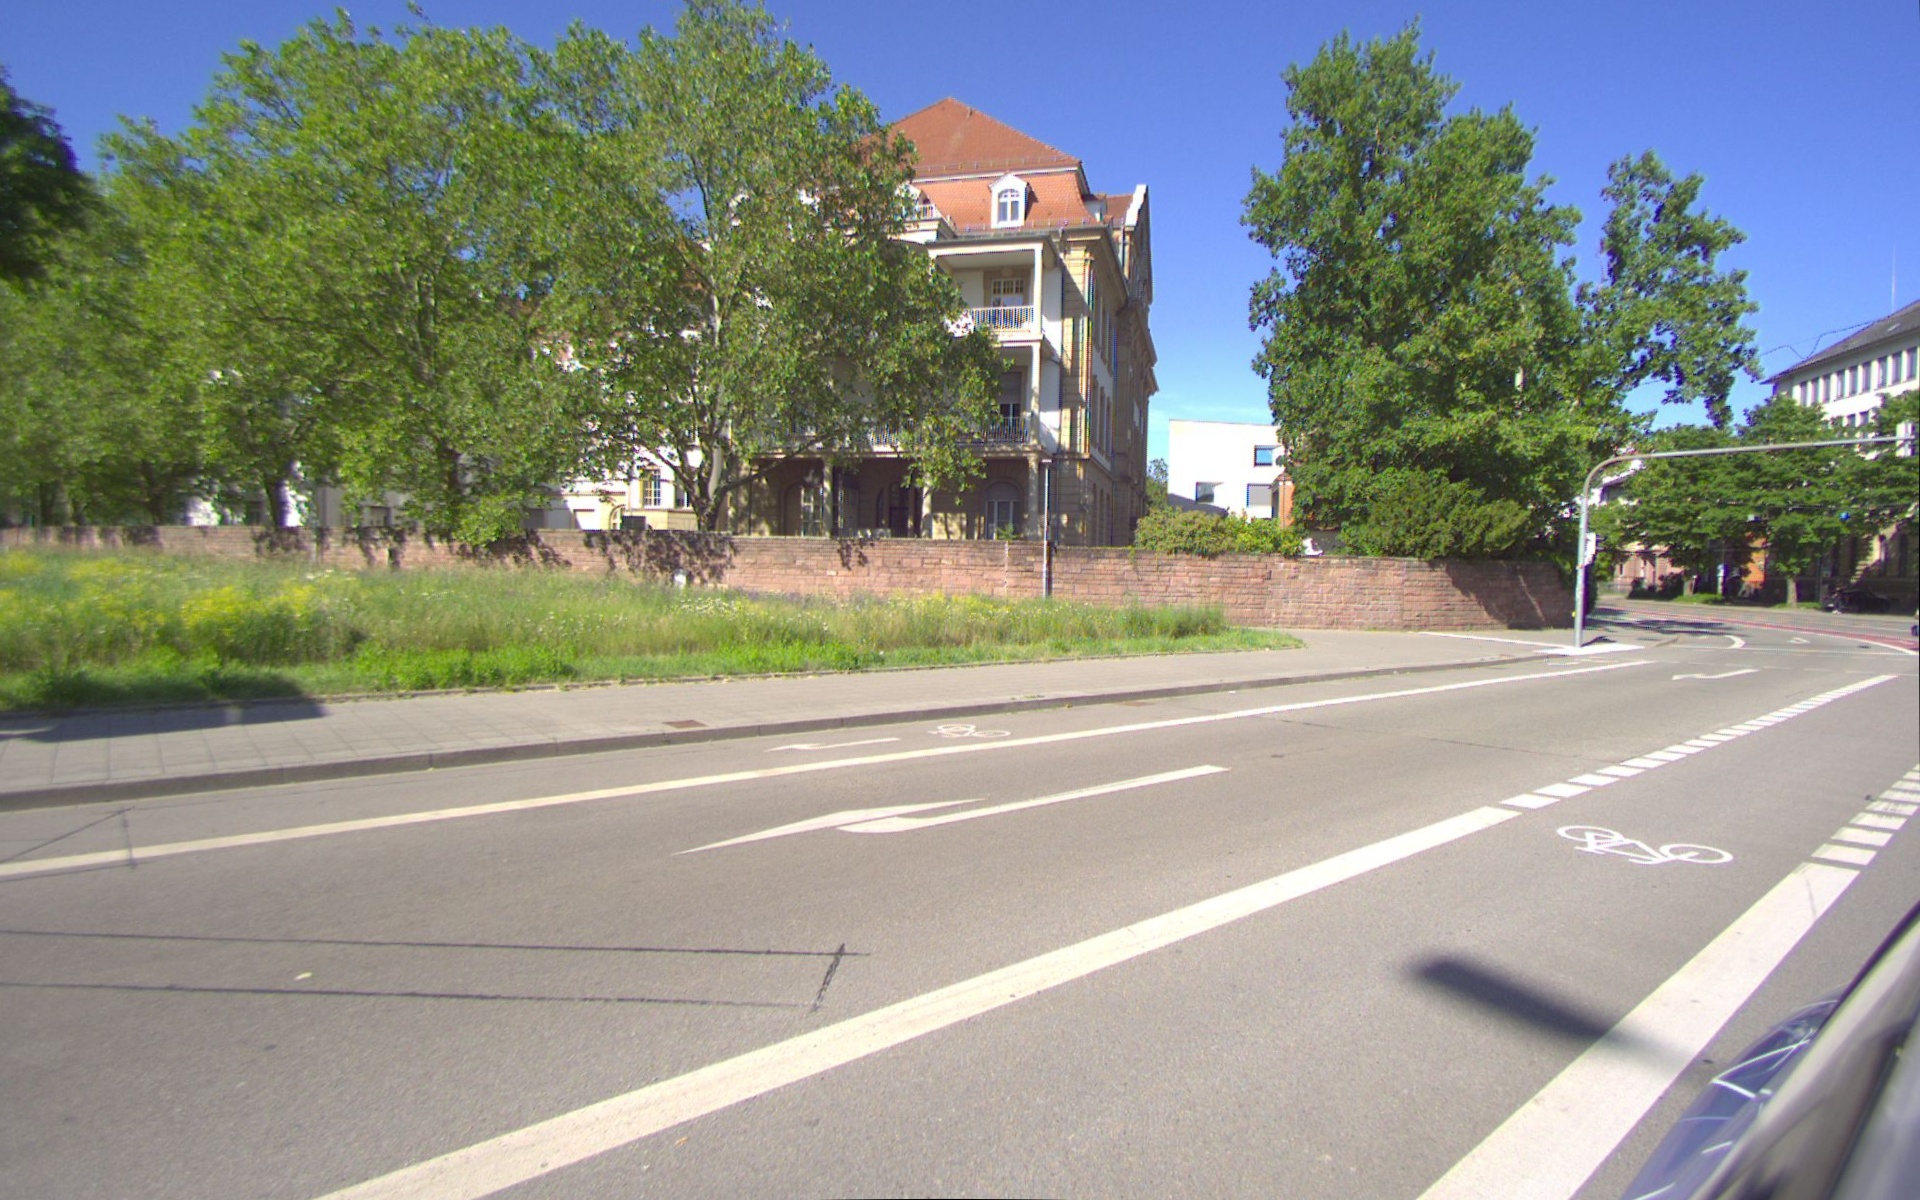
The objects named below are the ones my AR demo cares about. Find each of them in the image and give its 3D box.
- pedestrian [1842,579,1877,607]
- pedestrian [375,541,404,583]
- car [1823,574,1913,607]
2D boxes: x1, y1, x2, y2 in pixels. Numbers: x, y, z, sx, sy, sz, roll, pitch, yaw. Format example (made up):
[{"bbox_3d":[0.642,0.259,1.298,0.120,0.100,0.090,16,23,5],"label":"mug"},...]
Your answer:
[{"bbox_3d":[59.910,-0.478,67.429,1.366,1.844,0.937,1,1,4],"label":"pedestrian"},{"bbox_3d":[-20.036,-1.335,35.564,0.516,1.461,0.721,0,0,20],"label":"pedestrian"},{"bbox_3d":[61.206,-0.648,68.257,4.615,2.038,2.004,1,2,-9],"label":"car"}]
